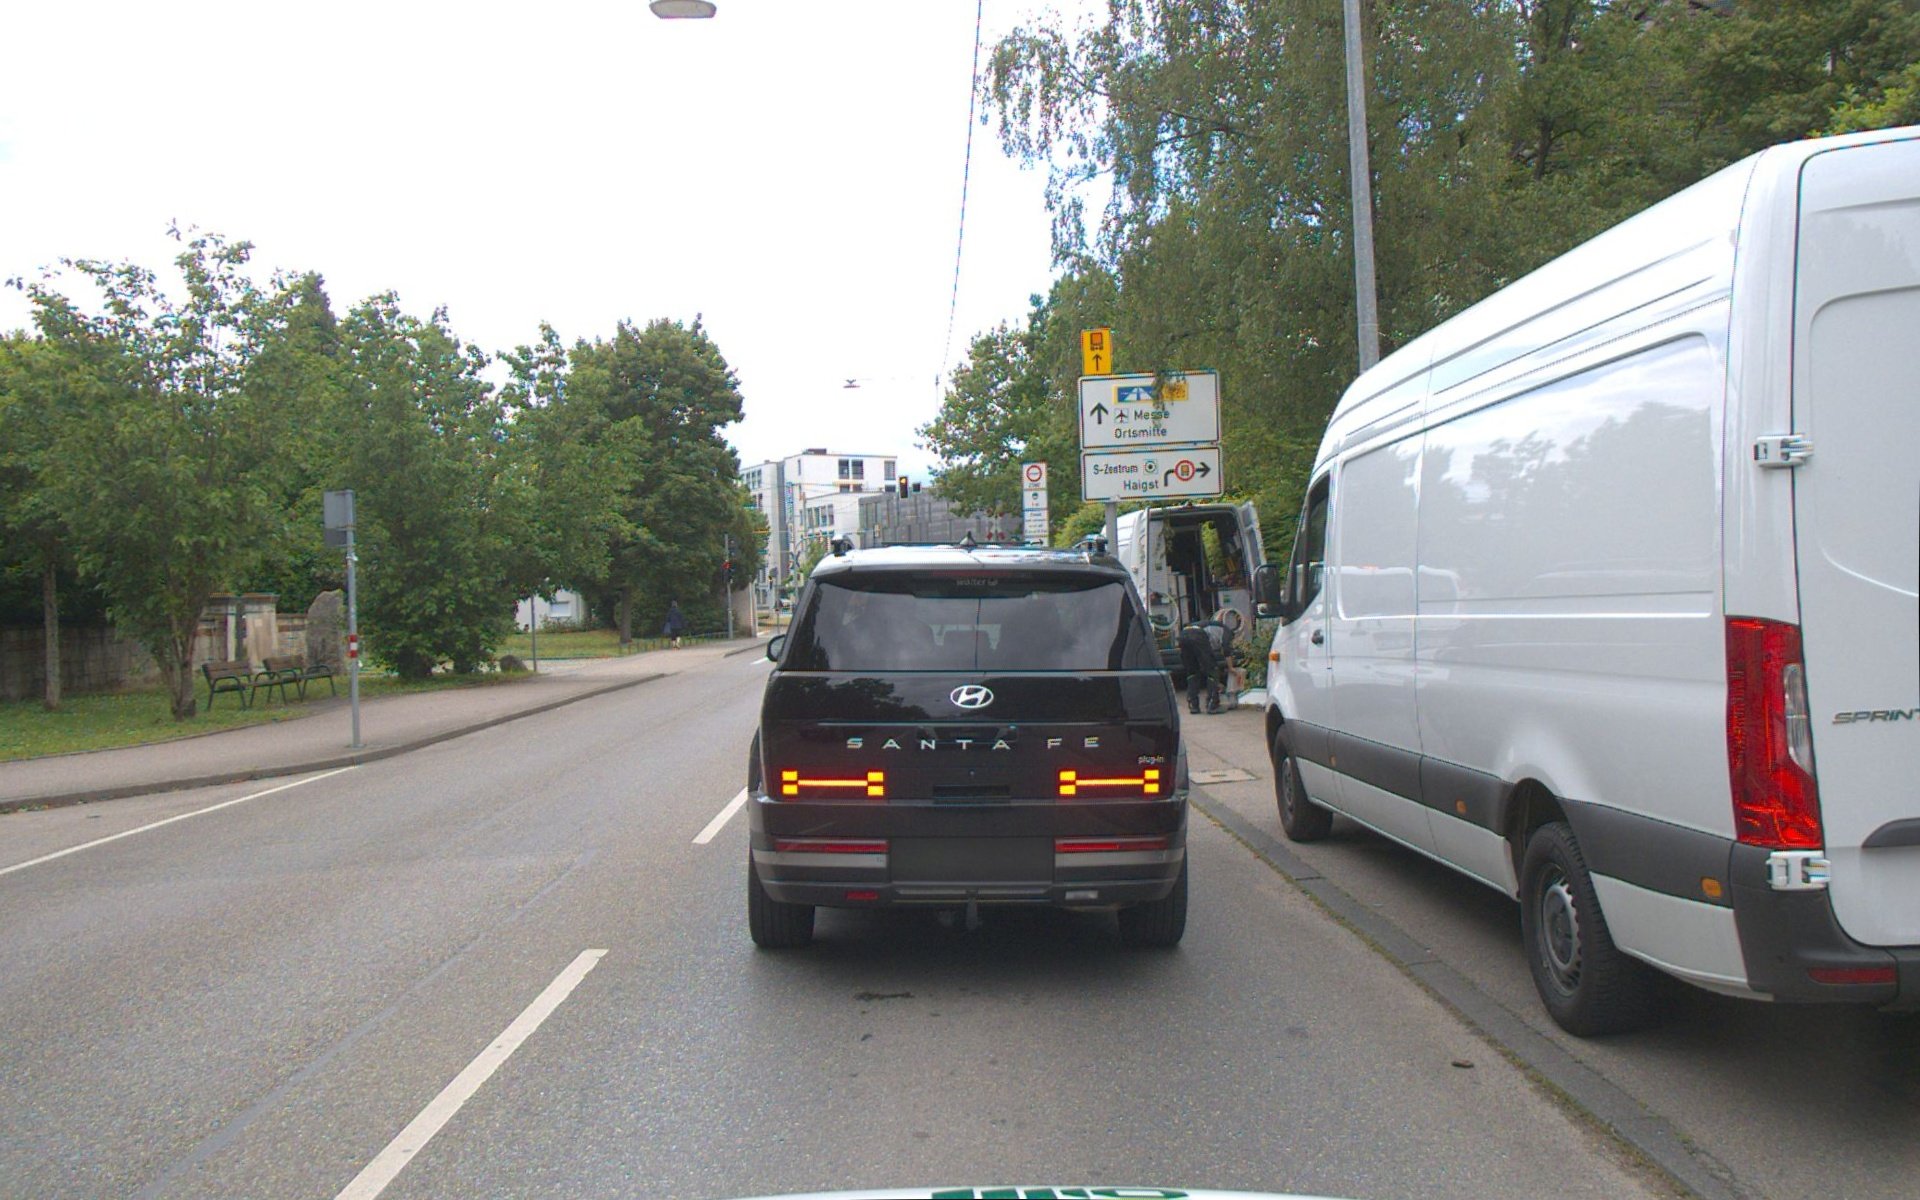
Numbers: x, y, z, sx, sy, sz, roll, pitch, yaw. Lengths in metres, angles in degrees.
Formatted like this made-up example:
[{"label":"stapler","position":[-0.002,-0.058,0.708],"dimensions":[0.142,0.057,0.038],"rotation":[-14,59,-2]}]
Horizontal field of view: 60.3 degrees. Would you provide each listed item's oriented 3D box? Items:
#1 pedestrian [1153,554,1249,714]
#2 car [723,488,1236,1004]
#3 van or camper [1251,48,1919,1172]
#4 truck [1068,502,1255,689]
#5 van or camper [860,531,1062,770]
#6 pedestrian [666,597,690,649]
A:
[{"label":"pedestrian","position":[2.839,0.391,19.445],"dimensions":[0.745,1.828,0.869],"rotation":[-2,0,38]},{"label":"car","position":[0.044,0.519,7.968],"dimensions":[1.851,1.851,3.999],"rotation":[0,0,-1]},{"label":"van or camper","position":[2.902,-0.010,7.226],"dimensions":[1.953,2.665,6.540],"rotation":[-2,0,-1]},{"label":"truck","position":[3.102,-0.053,26.632],"dimensions":[1.904,2.606,5.212],"rotation":[-3,0,-4]},{"label":"van or camper","position":[-0.018,0.437,16.531],"dimensions":[1.719,2.049,3.999],"rotation":[-2,0,-1]},{"label":"pedestrian","position":[-9.618,0.787,56.470],"dimensions":[0.724,1.745,0.791],"rotation":[-2,0,-8]}]
